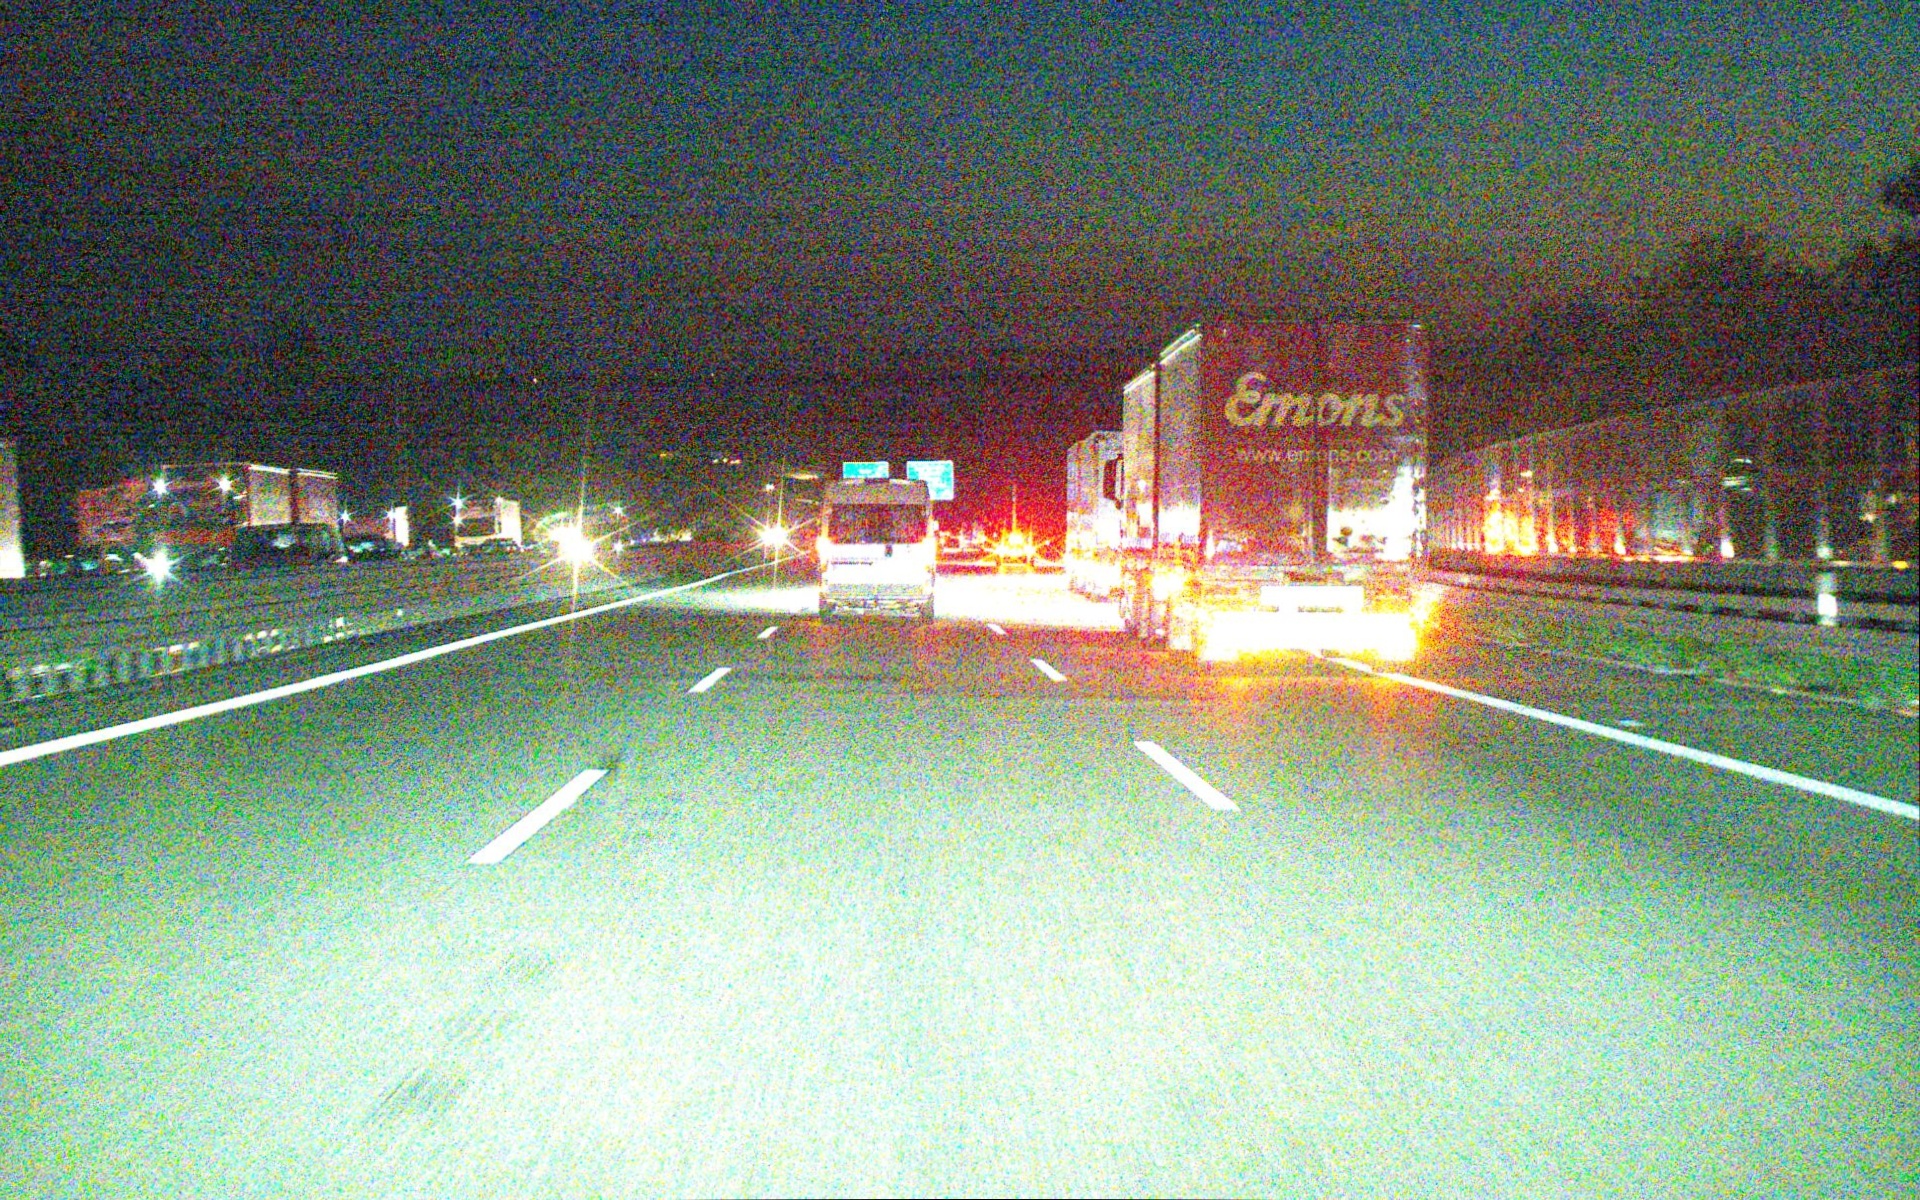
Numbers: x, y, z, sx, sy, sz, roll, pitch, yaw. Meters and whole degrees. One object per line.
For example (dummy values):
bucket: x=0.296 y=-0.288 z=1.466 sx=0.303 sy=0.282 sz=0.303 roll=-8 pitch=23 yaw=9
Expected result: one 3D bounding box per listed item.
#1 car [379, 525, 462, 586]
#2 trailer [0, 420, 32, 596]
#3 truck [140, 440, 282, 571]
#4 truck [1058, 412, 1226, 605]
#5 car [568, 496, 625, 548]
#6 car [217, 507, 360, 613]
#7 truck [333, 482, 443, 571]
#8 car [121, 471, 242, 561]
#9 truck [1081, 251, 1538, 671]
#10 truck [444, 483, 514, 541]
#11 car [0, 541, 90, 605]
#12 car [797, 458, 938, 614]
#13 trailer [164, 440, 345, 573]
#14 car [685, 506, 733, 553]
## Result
car: x=-18.299 y=-1.481 z=116.745 sx=1.993 sy=2.007 sz=5.325 roll=1 pitch=0 yaw=0
trailer: x=-21.432 y=-1.921 z=67.830 sx=2.885 sy=3.659 sz=13.049 roll=1 pitch=0 yaw=-1
truck: x=-22.200 y=-2.746 z=102.223 sx=2.859 sy=3.674 sz=6.603 roll=1 pitch=0 yaw=-1
truck: x=4.423 y=-2.310 z=86.868 sx=3.344 sy=4.460 sz=13.911 roll=0 pitch=1 yaw=-1
car: x=-14.840 y=-3.185 z=140.557 sx=1.993 sy=2.007 sz=4.000 roll=1 pitch=0 yaw=-2
car: x=-13.311 y=-0.771 z=68.425 sx=1.993 sy=2.007 sz=5.325 roll=1 pitch=0 yaw=-3
truck: x=-26.638 y=-3.337 z=160.792 sx=2.885 sy=3.836 sz=15.069 roll=1 pitch=0 yaw=-1
car: x=-18.246 y=-1.942 z=80.763 sx=1.993 sy=2.007 sz=4.000 roll=1 pitch=0 yaw=-1
truck: x=4.254 y=-1.766 z=48.711 sx=3.915 sy=4.611 sz=21.020 roll=1 pitch=1 yaw=-1
truck: x=-28.302 y=-5.147 z=202.572 sx=3.169 sy=3.211 sz=7.449 roll=1 pitch=0 yaw=-1
car: x=-25.460 y=-0.741 z=94.277 sx=1.993 sy=1.678 sz=5.325 roll=1 pitch=0 yaw=-2
car: x=-1.709 y=-1.092 z=61.539 sx=2.337 sy=2.631 sz=5.248 roll=-1 pitch=0 yaw=-3
trailer: x=-22.276 y=-2.836 z=109.551 sx=2.885 sy=3.836 sz=15.069 roll=1 pitch=0 yaw=-1
car: x=-11.148 y=-3.107 z=152.881 sx=1.993 sy=2.007 sz=4.000 roll=1 pitch=0 yaw=-2
